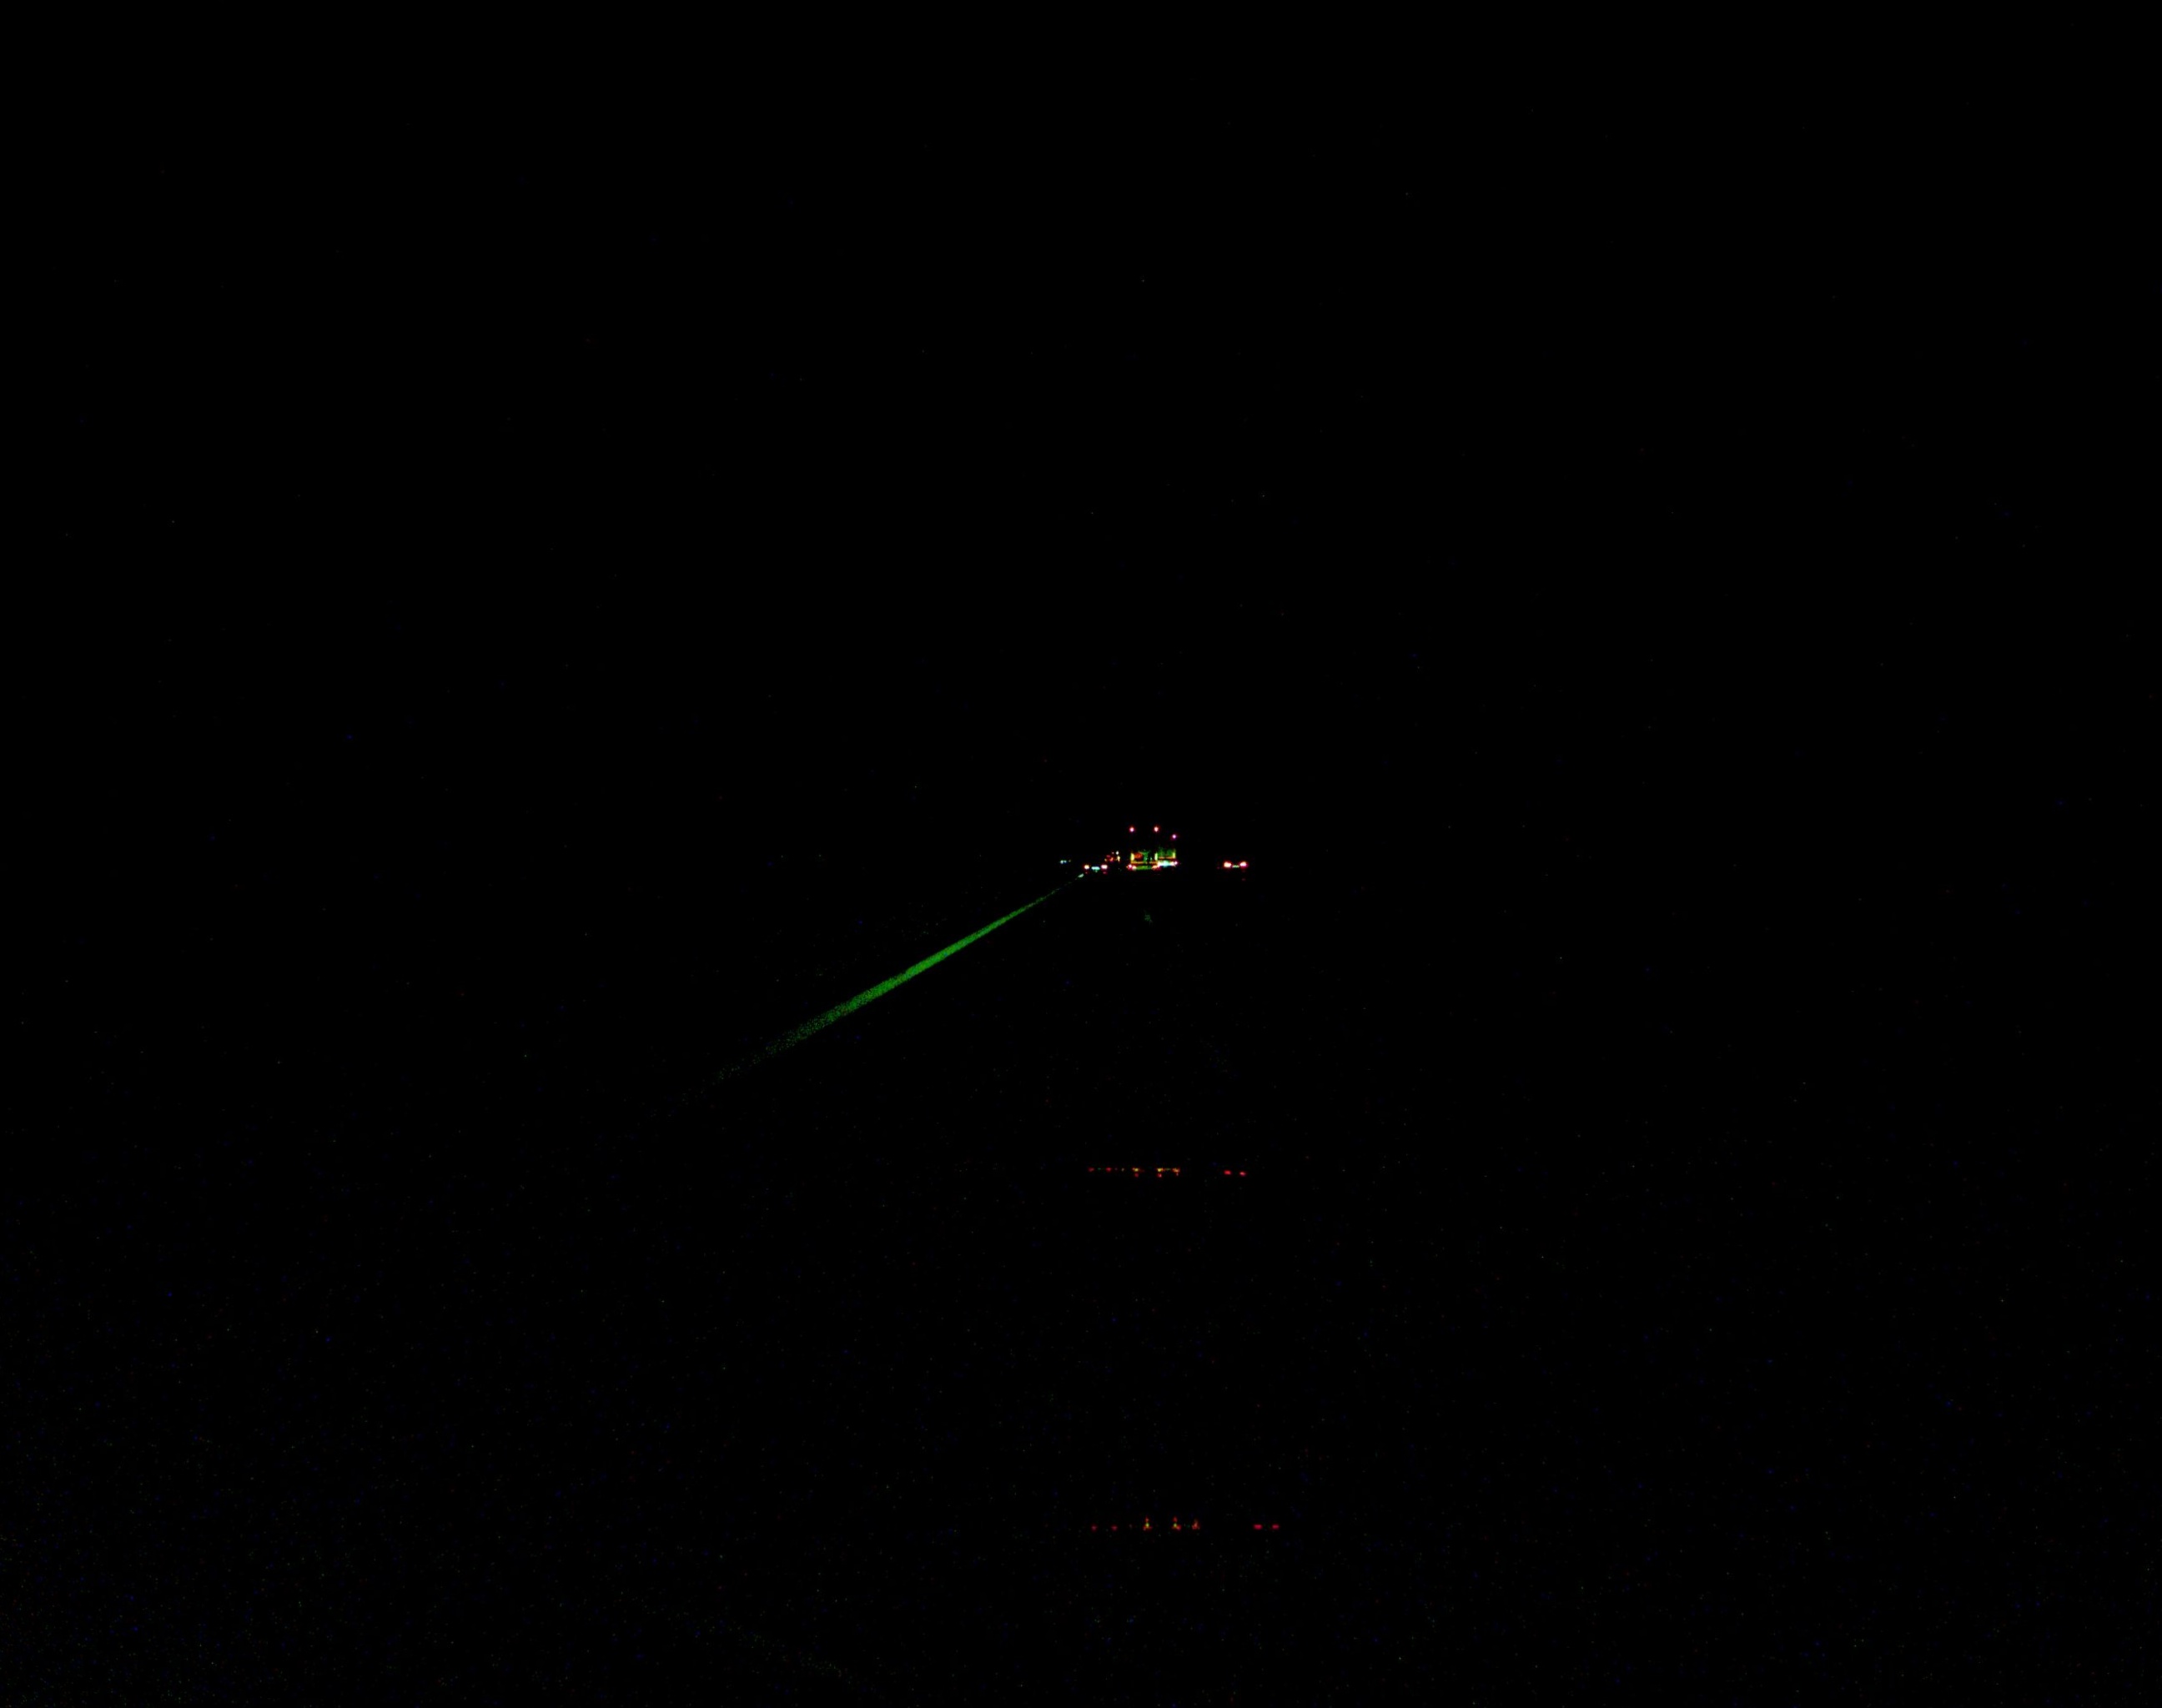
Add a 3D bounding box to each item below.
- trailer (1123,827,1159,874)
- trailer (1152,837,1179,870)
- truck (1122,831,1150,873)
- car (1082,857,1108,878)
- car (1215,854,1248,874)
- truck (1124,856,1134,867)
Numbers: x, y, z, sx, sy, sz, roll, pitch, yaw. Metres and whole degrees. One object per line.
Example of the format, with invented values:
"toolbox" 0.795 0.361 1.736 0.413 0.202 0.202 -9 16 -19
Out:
"trailer" 5.726 -0.229 80.157 2.733 4.206 13.511 0 0 1
"trailer" 10.959 0.003 106.254 2.582 4.072 10.009 0 -1 1
"truck" 5.824 -0.171 86.792 2.652 4.206 6.723 0 -1 1
"car" 0.966 0.955 58.225 1.815 1.466 4.247 0 -1 0
"car" 11.366 0.762 61.892 1.814 1.466 4.248 0 -1 1
"truck" 12.903 2.037 220.830 2.071 2.691 7.302 0 -1 -2
